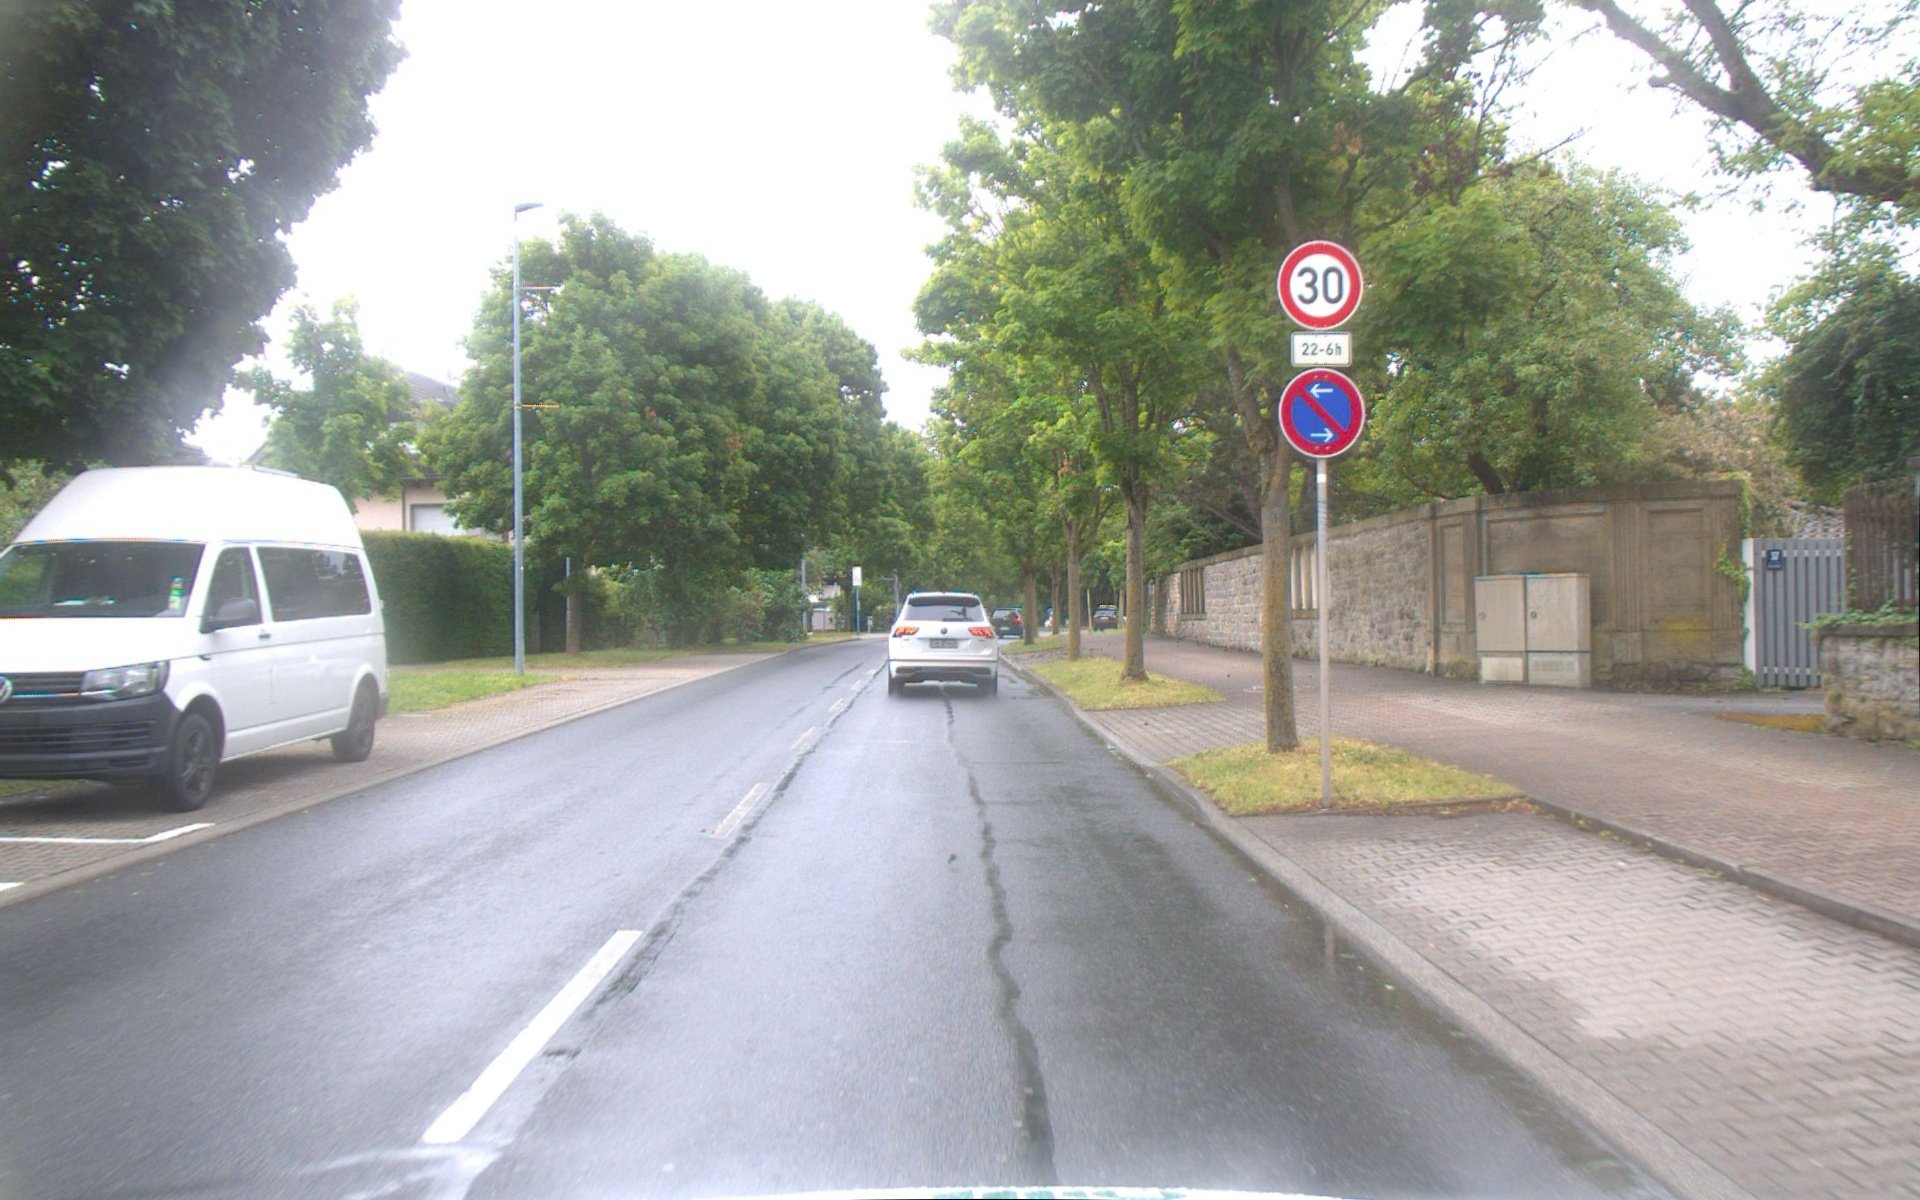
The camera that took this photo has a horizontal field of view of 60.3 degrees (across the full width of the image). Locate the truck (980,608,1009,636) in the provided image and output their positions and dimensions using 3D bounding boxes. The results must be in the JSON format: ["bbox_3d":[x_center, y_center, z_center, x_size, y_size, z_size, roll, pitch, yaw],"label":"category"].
[{"bbox_3d":[3.483,2.218,165.641,2.236,2.642,5.878,-1,-1,8],"label":"truck"}]

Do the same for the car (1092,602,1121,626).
[{"bbox_3d":[10.298,0.988,116.089,1.801,1.513,4.003,-3,-1,8],"label":"car"}]

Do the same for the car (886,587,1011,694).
[{"bbox_3d":[-0.234,0.632,28.021,1.956,1.660,3.999,1,0,-2],"label":"car"}]

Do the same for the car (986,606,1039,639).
[{"bbox_3d":[2.609,1.085,81.242,1.801,1.513,4.003,2,0,14],"label":"car"}]

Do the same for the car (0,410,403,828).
[{"bbox_3d":[-6.181,0.120,12.970,1.953,2.606,5.231,-1,0,-2],"label":"car"}]
